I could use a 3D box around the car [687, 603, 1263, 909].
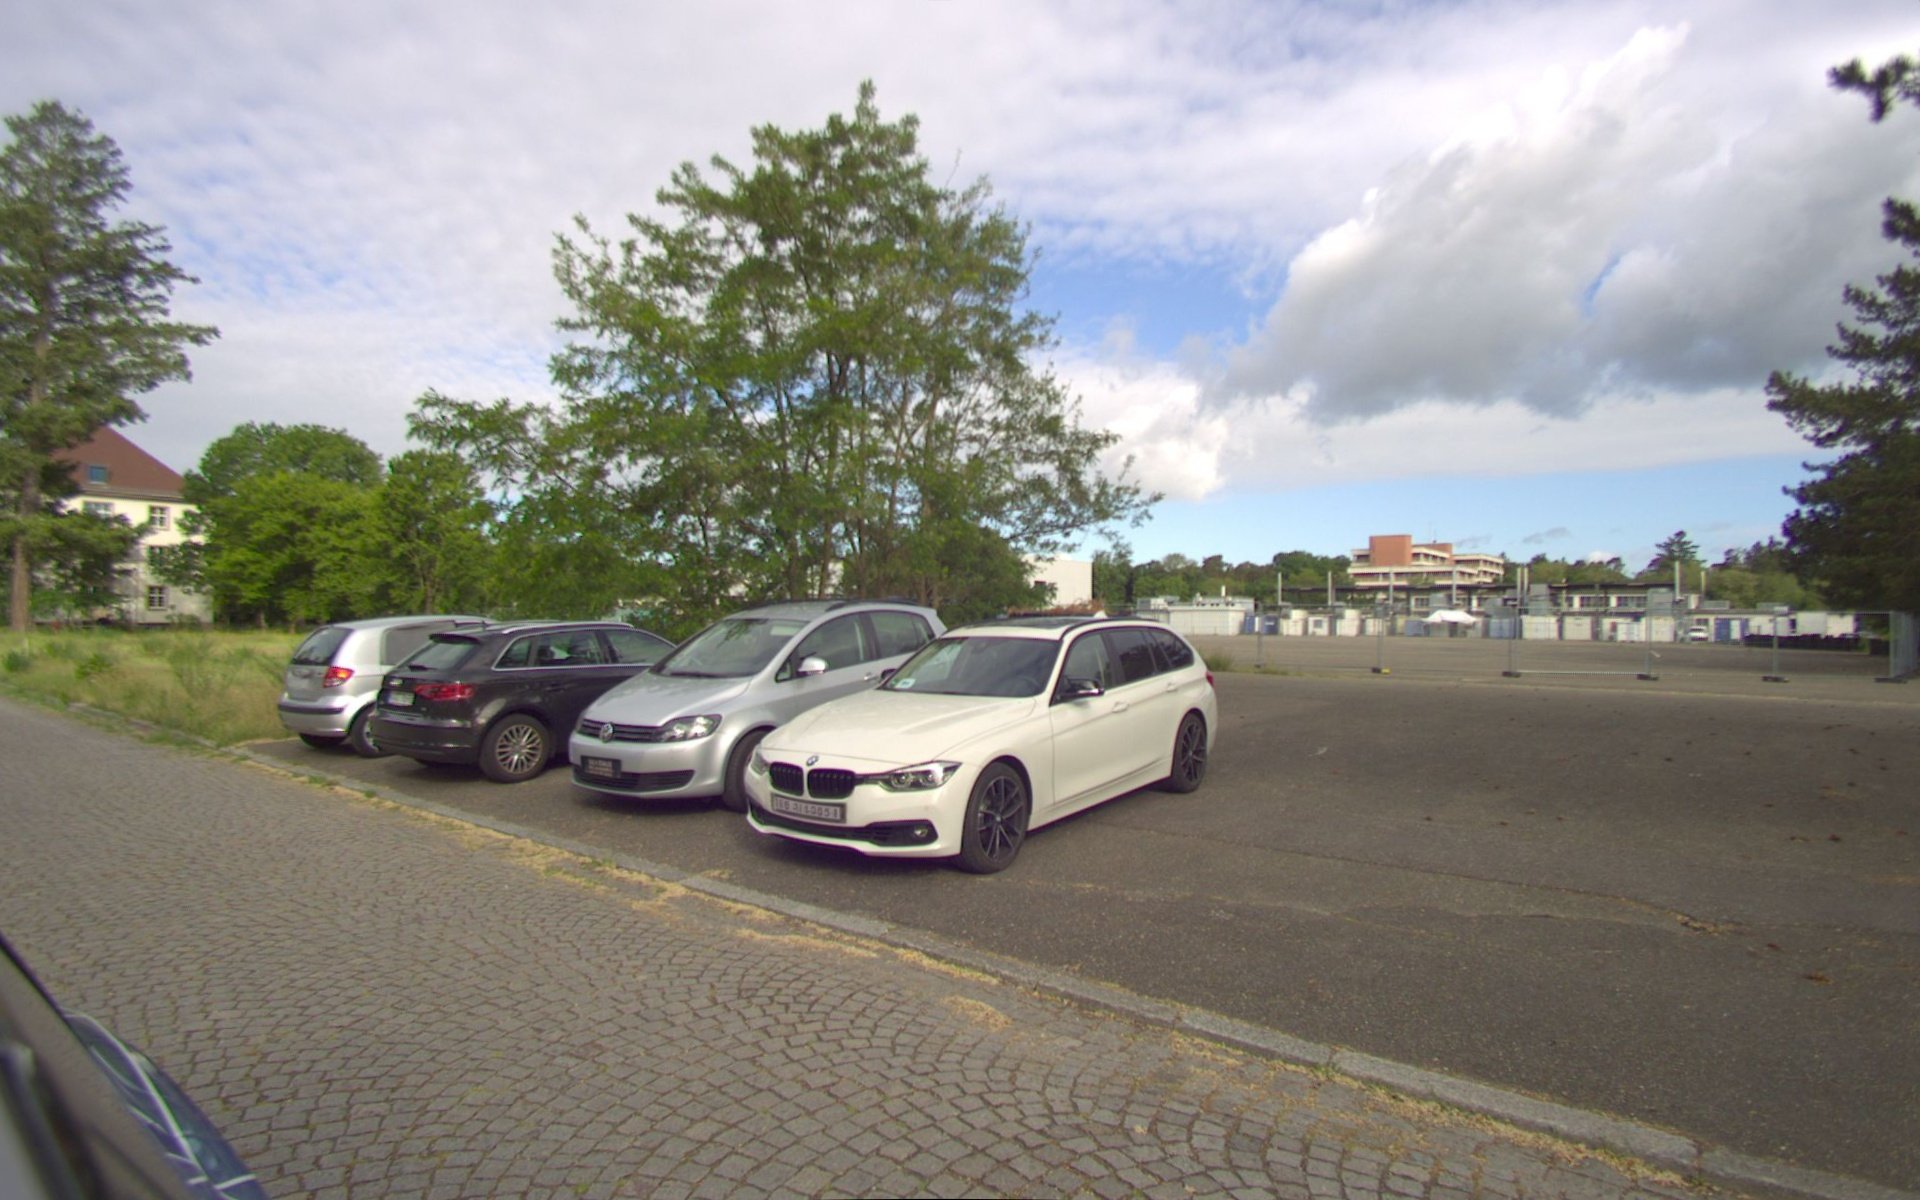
[{"bbox_3d":[0.491,0.814,7.664,1.910,1.450,4.761,-1,1,37],"label":"car"}]

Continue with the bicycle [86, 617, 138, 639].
[{"bbox_3d":[-59.206,1.971,70.675,1.273,1.516,2.637,-1,-2,45],"label":"bicycle"}]

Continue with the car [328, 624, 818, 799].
[{"bbox_3d":[-3.811,0.987,10.770,1.882,1.433,4.577,-1,-2,37],"label":"car"}]

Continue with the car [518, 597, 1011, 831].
[{"bbox_3d":[-1.502,0.790,9.352,1.843,1.602,4.434,-1,0,36],"label":"car"}]

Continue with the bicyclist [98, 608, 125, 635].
[{"bbox_3d":[-59.232,1.519,70.656,1.300,1.882,1.250,2,-2,-45],"label":"bicyclist"}]

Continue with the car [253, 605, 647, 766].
[{"bbox_3d":[-5.992,0.878,12.321,1.677,1.467,3.940,-1,2,35],"label":"car"}]

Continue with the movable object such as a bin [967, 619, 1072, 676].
[{"bbox_3d":[1.395,1.044,23.104,1.169,1.221,2.506,0,-1,39],"label":"movable object such as a bin"}]
